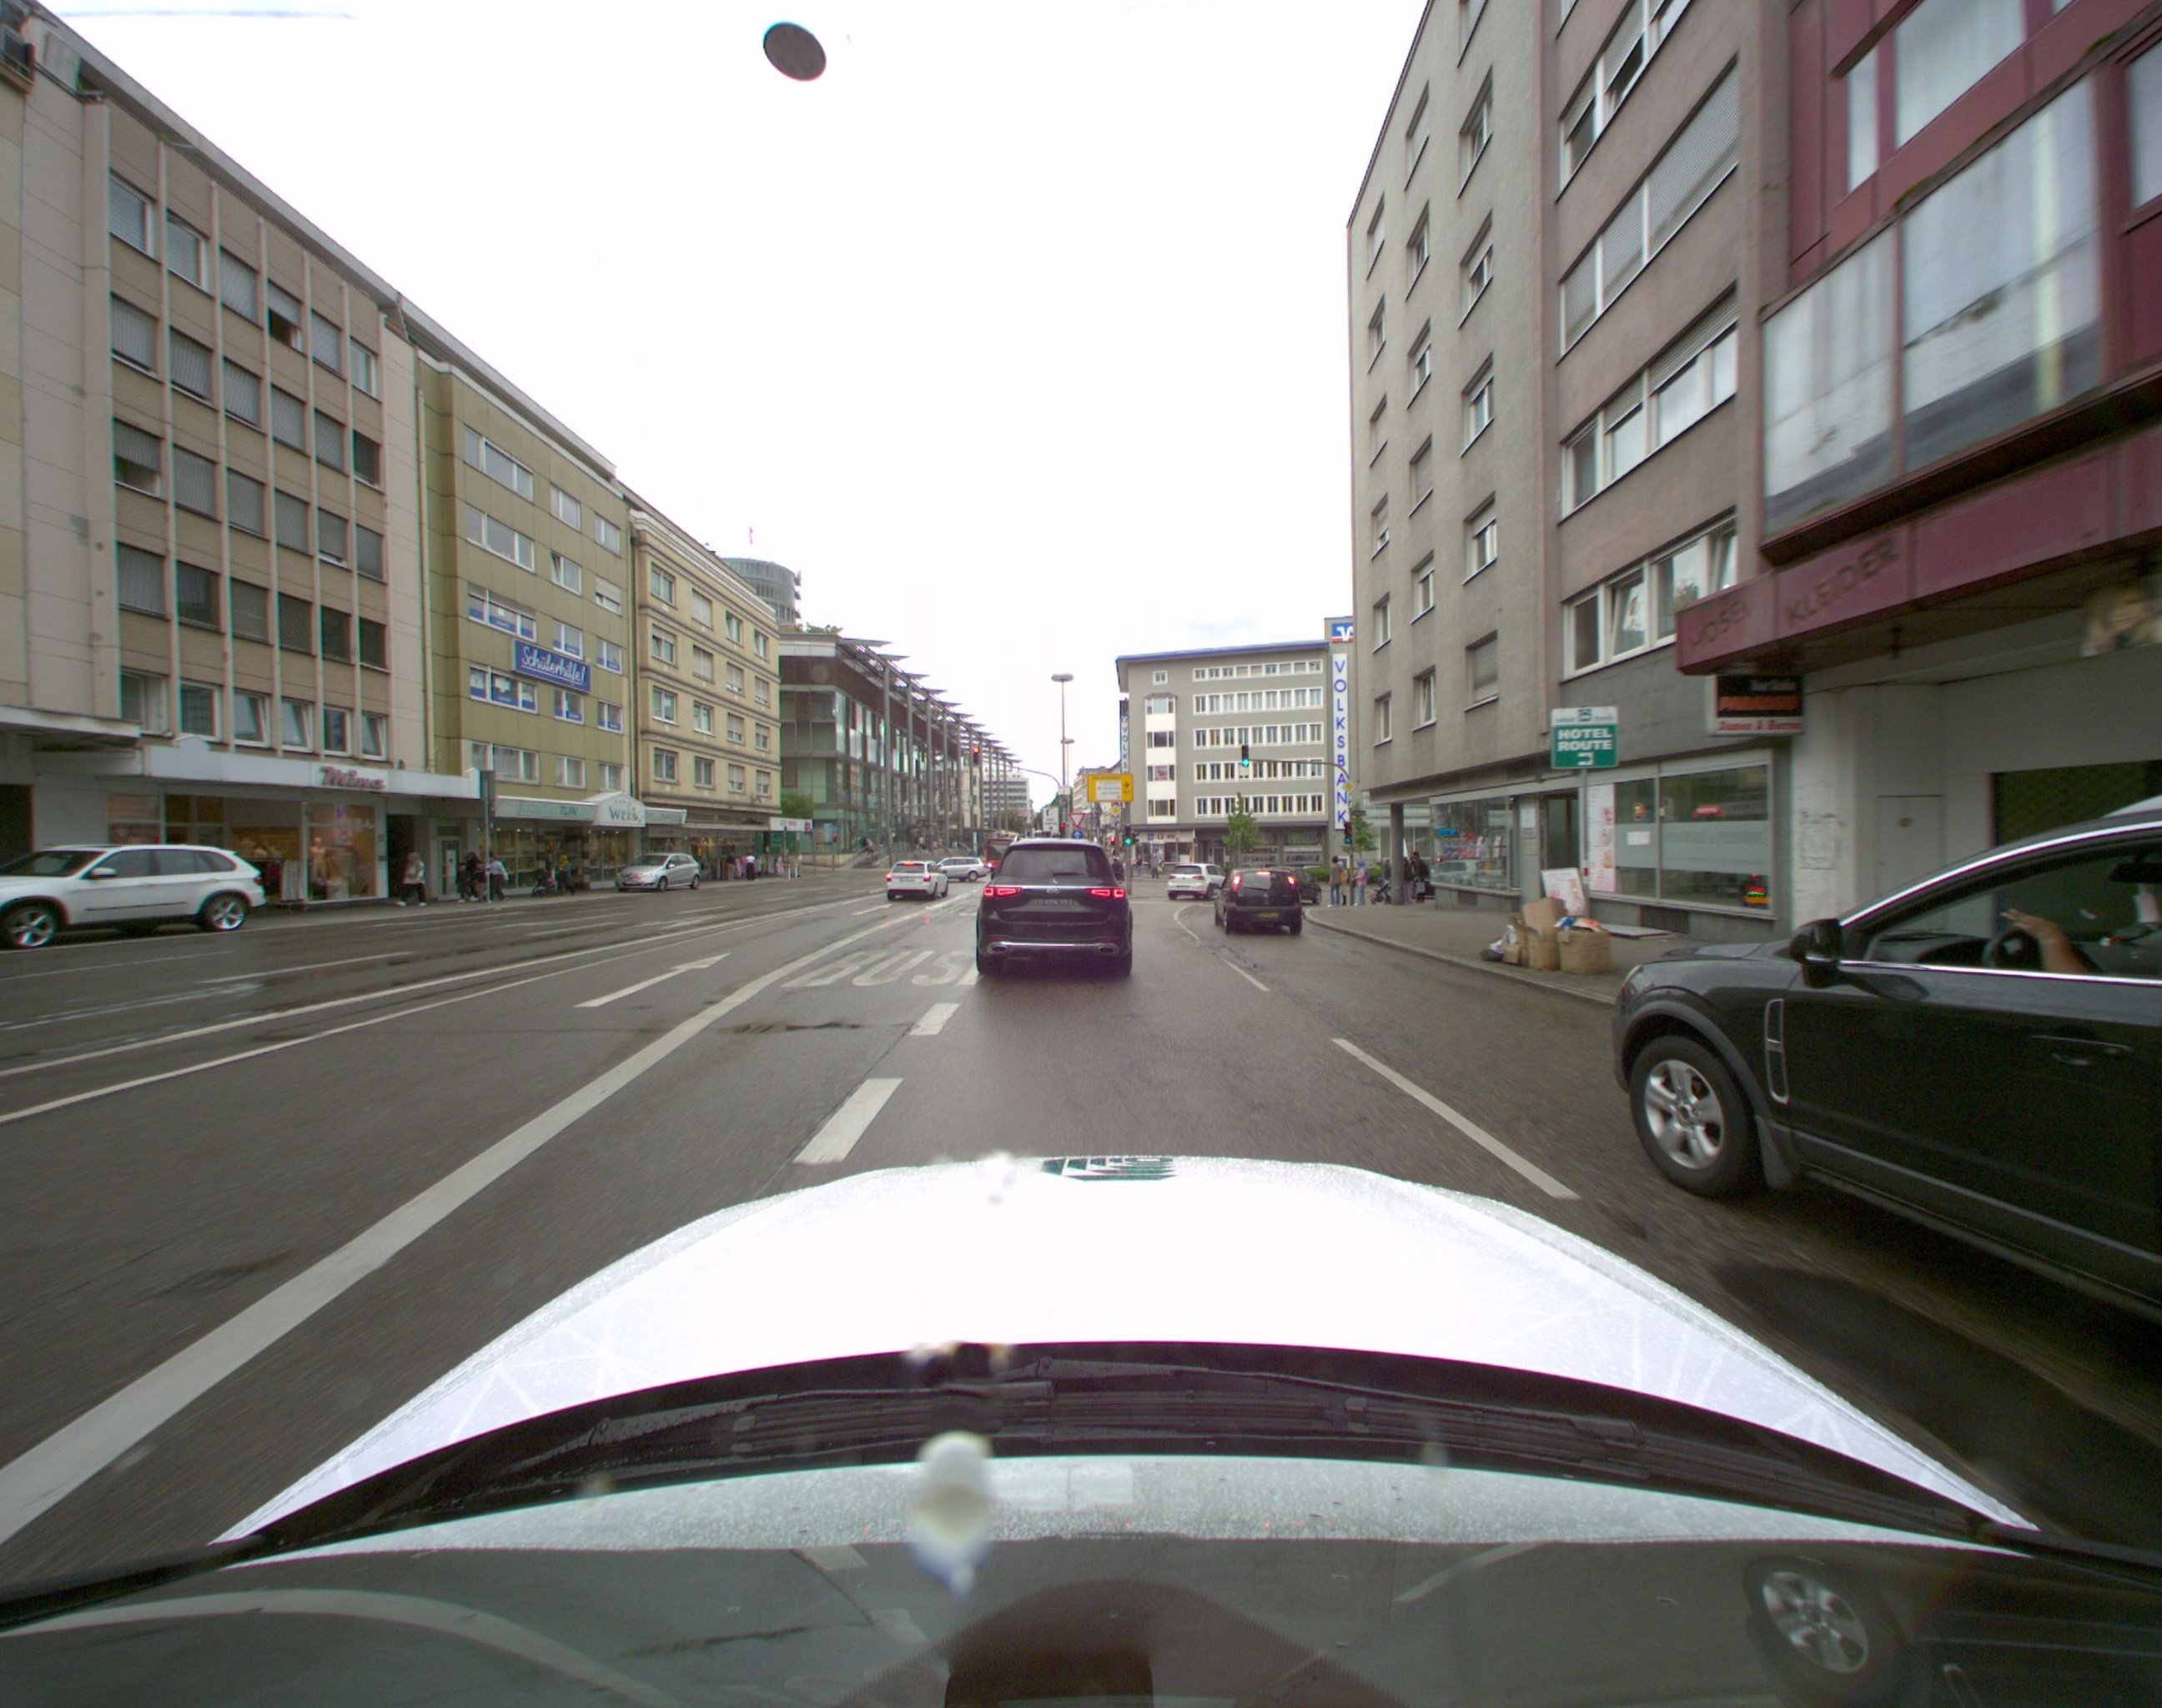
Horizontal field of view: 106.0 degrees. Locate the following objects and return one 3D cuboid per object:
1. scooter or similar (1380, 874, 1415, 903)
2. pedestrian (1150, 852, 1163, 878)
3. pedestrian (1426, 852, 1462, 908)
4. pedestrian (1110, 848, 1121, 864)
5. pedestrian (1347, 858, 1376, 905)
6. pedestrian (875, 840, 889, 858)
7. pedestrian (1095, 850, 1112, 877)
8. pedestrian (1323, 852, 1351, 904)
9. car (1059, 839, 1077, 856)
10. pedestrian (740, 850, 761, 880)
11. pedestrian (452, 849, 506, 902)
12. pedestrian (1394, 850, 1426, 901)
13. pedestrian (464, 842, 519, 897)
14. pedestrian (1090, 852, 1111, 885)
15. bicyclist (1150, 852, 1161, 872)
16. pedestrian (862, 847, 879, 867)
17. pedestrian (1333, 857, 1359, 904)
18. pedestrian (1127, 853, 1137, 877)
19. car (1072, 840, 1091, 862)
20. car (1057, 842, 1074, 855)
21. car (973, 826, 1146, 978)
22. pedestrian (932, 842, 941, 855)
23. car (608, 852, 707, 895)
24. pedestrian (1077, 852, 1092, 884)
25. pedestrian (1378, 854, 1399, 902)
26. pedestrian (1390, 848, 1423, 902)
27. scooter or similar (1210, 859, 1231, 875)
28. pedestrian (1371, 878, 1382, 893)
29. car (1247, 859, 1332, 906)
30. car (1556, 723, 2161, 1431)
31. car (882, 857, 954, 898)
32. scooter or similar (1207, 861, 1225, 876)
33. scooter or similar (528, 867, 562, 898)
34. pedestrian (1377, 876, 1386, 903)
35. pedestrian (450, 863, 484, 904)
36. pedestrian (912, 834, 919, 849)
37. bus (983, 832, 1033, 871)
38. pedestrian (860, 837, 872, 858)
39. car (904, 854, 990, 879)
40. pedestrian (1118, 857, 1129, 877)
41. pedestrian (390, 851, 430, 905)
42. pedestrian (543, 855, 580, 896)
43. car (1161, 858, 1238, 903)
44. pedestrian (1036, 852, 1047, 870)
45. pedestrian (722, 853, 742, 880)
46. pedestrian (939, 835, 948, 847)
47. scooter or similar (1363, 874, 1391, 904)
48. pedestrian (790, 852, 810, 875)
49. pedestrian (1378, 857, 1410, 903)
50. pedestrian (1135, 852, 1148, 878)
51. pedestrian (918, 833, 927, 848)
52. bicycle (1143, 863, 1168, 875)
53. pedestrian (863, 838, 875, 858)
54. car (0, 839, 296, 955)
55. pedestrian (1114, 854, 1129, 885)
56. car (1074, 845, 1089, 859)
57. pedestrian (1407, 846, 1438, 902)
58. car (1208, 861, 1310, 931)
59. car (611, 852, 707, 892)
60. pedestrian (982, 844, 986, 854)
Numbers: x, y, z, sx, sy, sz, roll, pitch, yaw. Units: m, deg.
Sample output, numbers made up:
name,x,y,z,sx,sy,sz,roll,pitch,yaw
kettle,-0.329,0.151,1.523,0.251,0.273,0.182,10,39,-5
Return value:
name,x,y,z,sx,sy,sz,roll,pitch,yaw
scooter or similar,11.173,1.220,28.770,0.768,0.986,1.048,-1,-4,0
pedestrian,5.263,0.788,56.779,0.828,1.778,0.616,2,0,-6
pedestrian,12.356,0.878,27.731,0.666,1.866,0.833,2,0,-20
pedestrian,3.780,0.227,89.748,1.020,1.775,0.798,2,0,-6
pedestrian,10.001,0.990,29.044,0.736,1.635,0.600,-5,-6,42
pedestrian,-18.788,-0.442,76.916,1.037,1.713,1.006,1,0,-5
pedestrian,1.568,0.664,56.104,1.008,1.787,0.851,2,0,-6
pedestrian,8.518,0.808,27.124,0.620,1.692,0.787,-3,-3,36
car,-2.591,-1.265,165.121,2.429,3.465,6.171,2,0,11
pedestrian,-18.587,0.625,45.763,0.850,1.628,0.765,1,0,-43
pedestrian,-20.034,0.685,27.113,0.949,1.695,1.086,1,1,-1
pedestrian,11.266,0.738,27.928,0.831,1.723,0.619,-1,-3,8
pedestrian,-18.925,0.484,26.174,0.949,1.714,1.090,1,1,-1
pedestrian,1.016,0.735,41.708,0.973,1.672,0.916,2,0,6
bicyclist,6.639,0.712,72.596,0.838,1.704,0.625,0,-1,14
pedestrian,-18.881,0.258,72.911,1.029,1.713,1.014,1,0,28
pedestrian,9.666,0.985,29.738,0.537,1.638,0.838,-3,-4,0
pedestrian,3.486,0.737,55.661,0.566,1.669,0.503,1,0,7
car,0.030,-0.383,113.158,2.438,2.957,6.149,2,0,-2
car,-2.266,-0.826,123.144,2.415,1.780,5.154,2,0,0
car,-0.368,0.541,12.204,2.083,1.817,4.788,0,1,-3
pedestrian,-18.756,-0.727,105.520,1.037,1.713,1.006,1,0,-5
car,-17.690,0.754,34.275,1.841,1.550,4.400,2,1,0
pedestrian,0.199,0.763,44.409,0.752,1.692,0.694,2,-2,5
pedestrian,12.305,0.983,32.642,0.611,1.868,0.790,-3,-5,16
pedestrian,11.785,0.770,29.515,0.832,1.865,0.659,-3,-4,4
scooter or similar,11.450,1.041,66.823,1.484,1.257,0.935,1,-1,20
pedestrian,11.401,1.222,31.445,0.368,0.571,0.461,-2,-1,19
car,8.276,1.053,32.099,1.931,1.573,4.026,3,2,35
car,3.646,0.533,2.379,1.902,1.785,4.299,-2,1,-2
car,-6.141,0.829,31.193,1.786,1.415,4.631,0,0,0
scooter or similar,10.787,1.159,65.105,1.368,1.187,0.547,0,0,20
scooter or similar,-19.235,1.002,29.232,0.734,1.054,0.701,1,1,-1
pedestrian,11.768,1.392,31.882,0.258,1.000,0.474,-5,-3,23
pedestrian,-19.700,0.935,26.128,0.533,1.249,0.720,1,1,-1
pedestrian,-18.826,-1.440,92.469,0.679,1.713,0.849,1,0,-5
bus,-6.838,-0.173,79.623,2.910,3.321,18.481,1,0,1
pedestrian,-20.526,-0.617,77.846,0.878,1.980,0.974,1,0,0
car,-8.045,0.724,48.997,4.768,1.446,1.774,1,0,-31
pedestrian,2.923,0.883,55.716,0.629,1.339,0.587,2,0,-6
pedestrian,-19.776,0.712,24.001,0.639,1.574,0.612,0,0,0
pedestrian,-19.202,0.782,30.120,0.664,1.484,1.065,1,1,-1
car,4.965,1.034,33.681,1.932,1.573,4.024,2,2,26
pedestrian,-4.198,0.760,86.442,0.949,1.886,0.812,2,0,7
pedestrian,-19.597,0.699,45.705,0.783,1.537,0.681,1,0,-2
pedestrian,-19.257,-1.817,114.022,1.037,1.713,1.006,1,0,-5
scooter or similar,11.409,1.346,31.411,0.962,1.109,0.658,-2,-1,19
pedestrian,-18.879,0.630,54.661,0.868,1.586,1.155,0,0,3
pedestrian,11.989,0.974,31.212,1.027,1.722,0.842,-2,-1,17
pedestrian,4.149,0.751,55.638,0.776,1.689,0.640,2,0,9
pedestrian,-18.085,-1.498,92.942,0.826,1.713,0.801,1,0,-5
bicycle,6.628,1.317,72.585,2.122,0.993,0.697,0,0,14
pedestrian,-20.500,-0.590,78.833,0.872,1.980,0.850,1,0,0
car,-17.939,0.664,15.100,1.842,1.827,4.965,1,0,1
pedestrian,2.107,0.822,42.665,0.709,1.568,0.856,2,-1,5
car,0.053,-0.265,106.598,1.856,1.826,4.100,2,0,-2
pedestrian,12.054,0.696,28.743,0.813,1.931,0.734,-1,-2,8
car,3.957,0.891,18.669,1.710,1.420,3.773,1,-1,3
car,-17.653,0.692,34.327,1.693,1.563,4.204,1,0,2
pedestrian,-13.573,-0.671,113.857,0.507,1.340,0.420,2,0,6
